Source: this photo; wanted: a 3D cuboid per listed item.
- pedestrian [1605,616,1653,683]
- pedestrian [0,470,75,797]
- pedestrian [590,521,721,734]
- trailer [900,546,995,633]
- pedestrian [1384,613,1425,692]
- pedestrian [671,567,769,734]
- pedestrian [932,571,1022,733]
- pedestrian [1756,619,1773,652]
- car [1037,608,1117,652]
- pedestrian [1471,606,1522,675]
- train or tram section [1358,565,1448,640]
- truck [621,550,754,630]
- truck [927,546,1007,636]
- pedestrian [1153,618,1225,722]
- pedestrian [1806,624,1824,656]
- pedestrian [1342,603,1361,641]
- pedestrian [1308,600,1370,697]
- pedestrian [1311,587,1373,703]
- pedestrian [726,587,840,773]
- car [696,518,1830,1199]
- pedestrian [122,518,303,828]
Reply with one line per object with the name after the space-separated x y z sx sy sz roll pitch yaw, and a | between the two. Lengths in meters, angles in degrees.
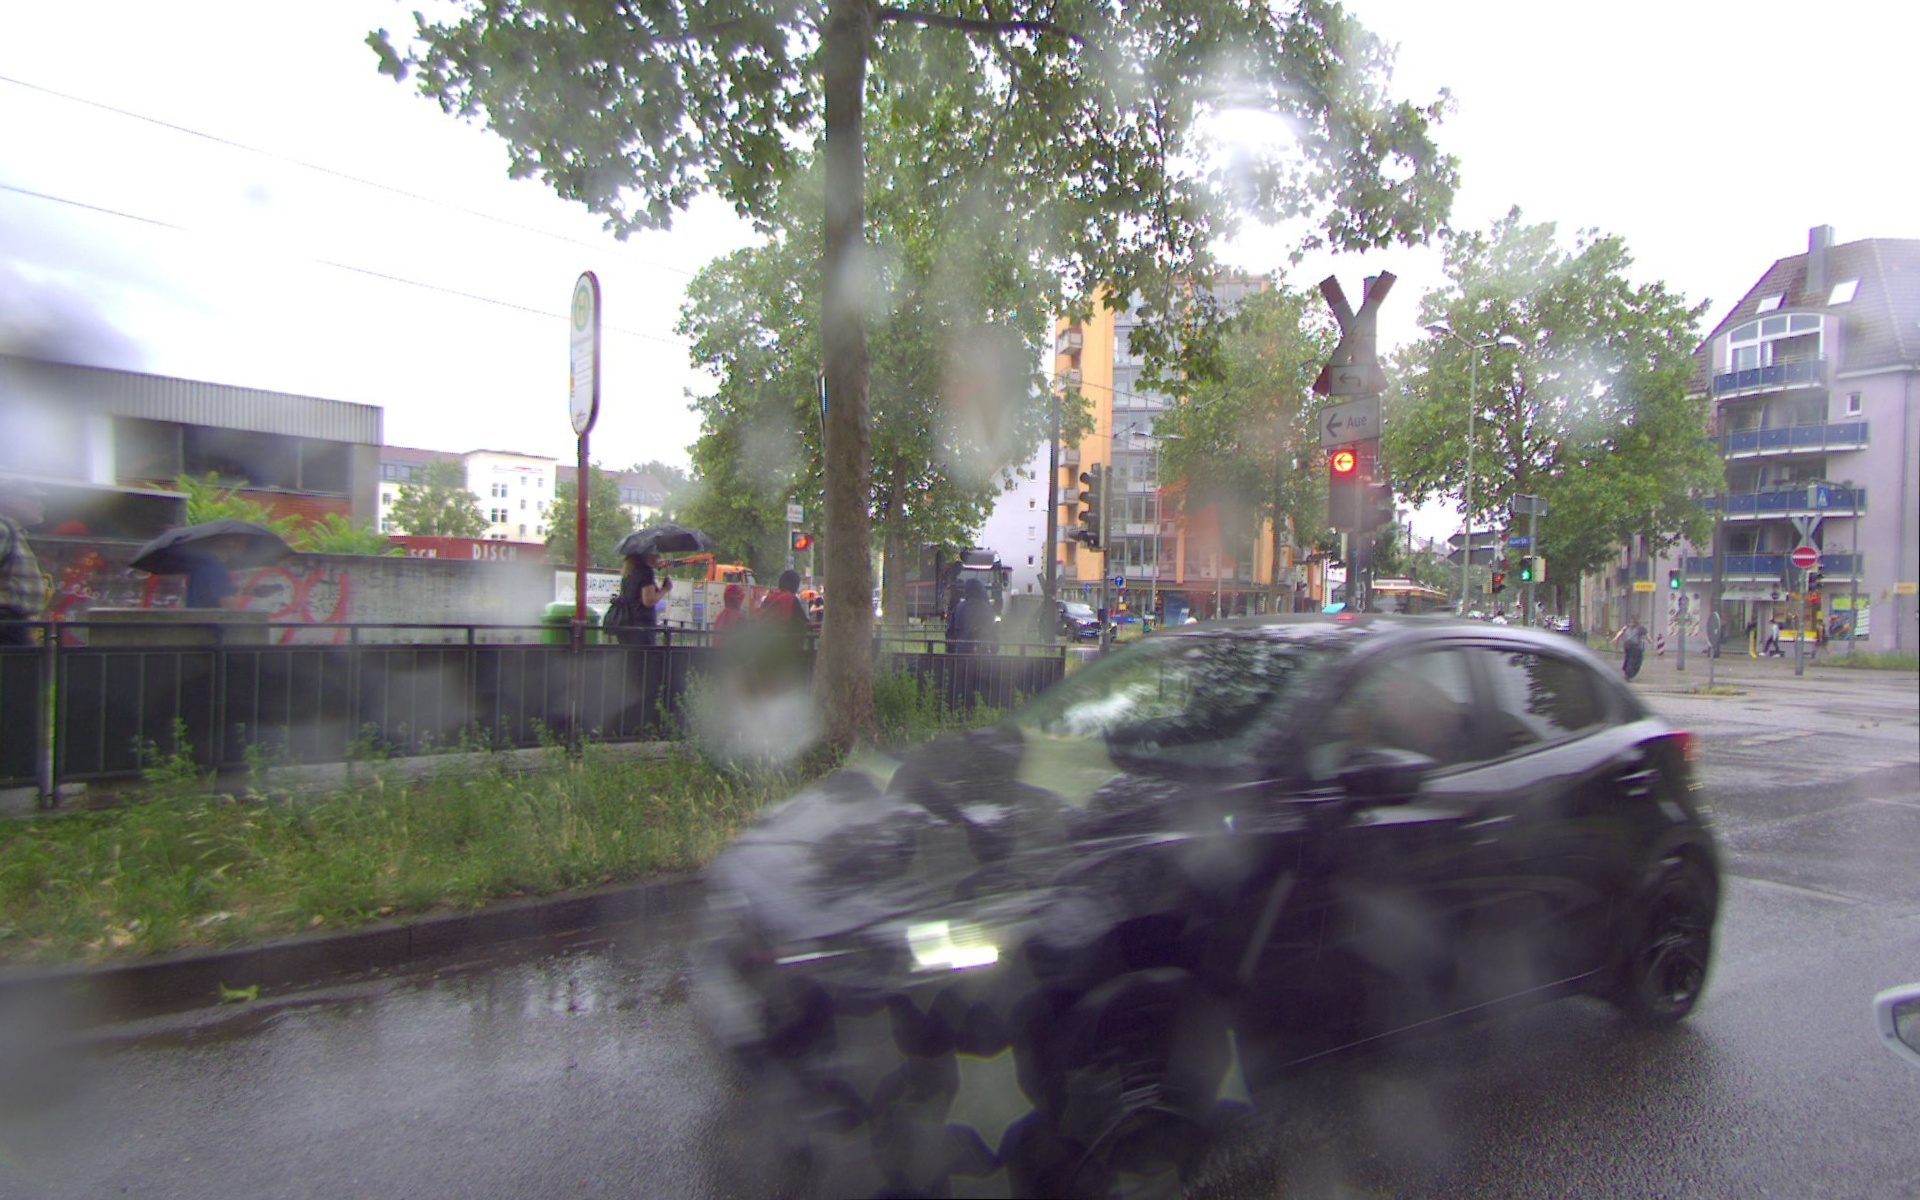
15.935 1.169 23.916 0.785 1.553 0.743 2 0 -41 | pedestrian
-5.587 0.174 5.690 0.825 1.778 0.856 1 1 -43 | pedestrian
-2.565 0.233 8.488 0.782 1.705 0.659 -2 0 23 | pedestrian
-0.839 -0.472 50.740 2.593 3.899 10.114 2 0 -13 | trailer
8.224 0.949 18.573 0.638 1.414 0.782 1 0 26 | pedestrian
-2.336 0.471 9.768 0.654 1.540 0.675 1 0 -42 | pedestrian
0.201 0.555 11.077 0.823 1.722 0.689 -1 0 17 | pedestrian
35.832 1.586 44.748 0.557 1.477 0.440 2 0 -39 | pedestrian
4.639 1.166 40.420 1.585 1.551 4.017 1 1 -19 | car
12.997 0.975 24.343 0.956 1.622 0.670 2 0 -30 | pedestrian
26.553 0.260 59.524 2.839 3.818 17.211 2 0 30 | train or tram section
-11.777 -0.413 43.602 5.383 3.205 2.164 2 0 -16 | truck
0.255 -0.396 46.050 2.593 3.842 4.444 2 0 -13 | truck
3.146 0.938 13.789 0.704 1.367 0.650 1 1 -44 | pedestrian
36.744 1.715 43.149 0.556 1.347 0.441 2 0 -34 | pedestrian
23.056 1.296 59.137 0.871 2.179 0.910 2 0 29 | pedestrian
7.357 0.918 19.493 0.943 1.789 0.951 2 0 31 | pedestrian
6.407 0.741 16.862 0.777 1.880 0.679 2 1 37 | pedestrian
-1.659 0.704 9.423 0.811 1.646 0.723 0 0 -41 | pedestrian
1.331 0.674 3.796 4.187 1.613 1.742 1 0 -31 | car
-5.017 0.446 6.740 0.885 1.889 0.861 1 1 -42 | pedestrian
